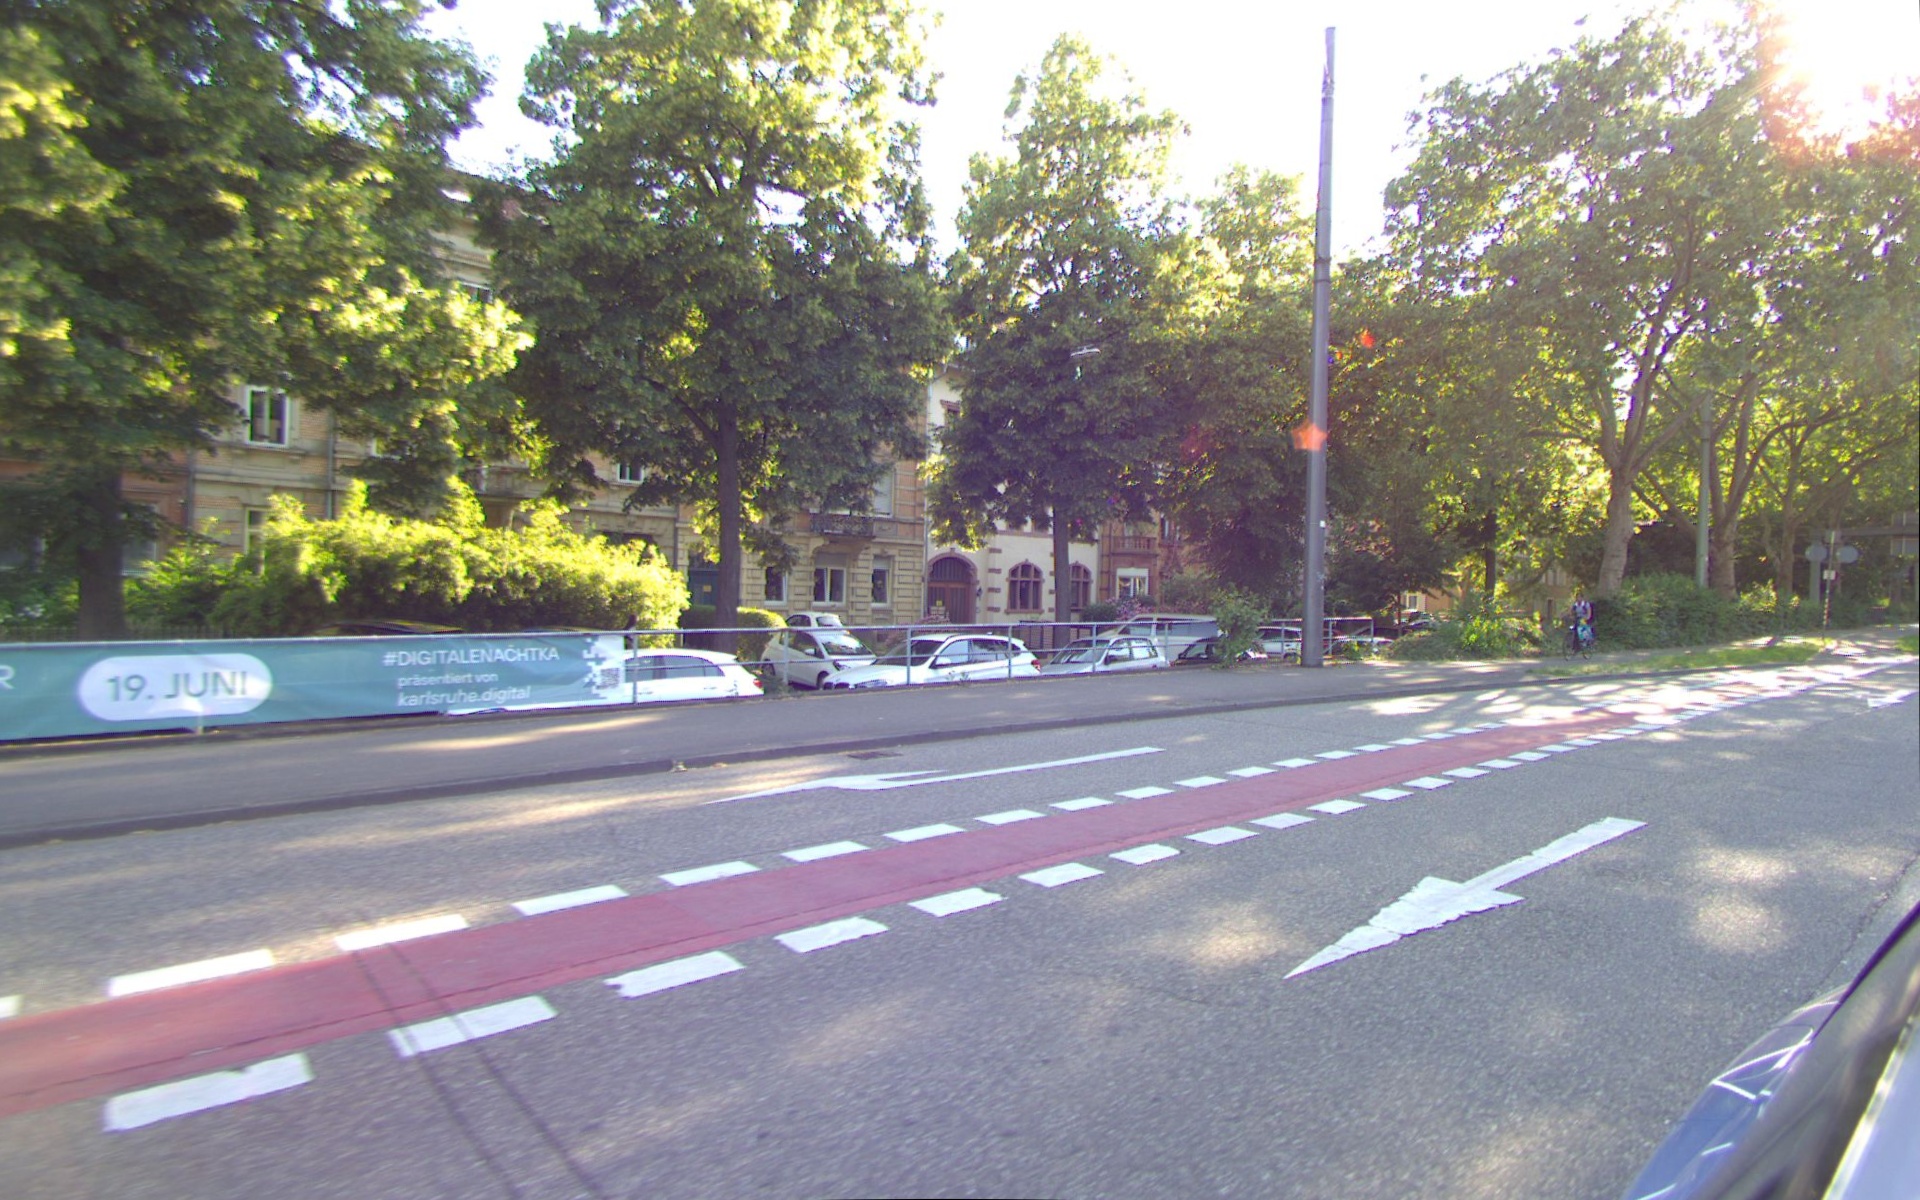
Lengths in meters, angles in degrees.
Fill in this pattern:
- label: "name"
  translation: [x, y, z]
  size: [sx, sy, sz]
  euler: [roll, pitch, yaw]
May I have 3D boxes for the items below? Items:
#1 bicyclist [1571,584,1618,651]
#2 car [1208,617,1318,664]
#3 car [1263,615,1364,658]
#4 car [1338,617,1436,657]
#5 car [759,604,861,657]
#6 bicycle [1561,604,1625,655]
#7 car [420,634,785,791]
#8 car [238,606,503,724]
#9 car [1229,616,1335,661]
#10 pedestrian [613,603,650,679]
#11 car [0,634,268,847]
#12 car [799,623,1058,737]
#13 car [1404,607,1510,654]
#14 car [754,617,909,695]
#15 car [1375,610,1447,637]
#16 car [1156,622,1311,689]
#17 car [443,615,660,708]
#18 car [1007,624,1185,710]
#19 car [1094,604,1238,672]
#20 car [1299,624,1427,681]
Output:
- label: "bicyclist"
  translation: [14.830, 0.403, 23.660]
  size: [0.639, 1.532, 0.767]
  euler: [0, 1, -41]
- label: "car"
  translation: [11.457, 1.500, 38.436]
  size: [3.871, 1.470, 1.680]
  euler: [3, 1, 16]
- label: "car"
  translation: [15.013, 1.538, 43.165]
  size: [3.947, 1.529, 1.790]
  euler: [3, 1, 18]
- label: "car"
  translation: [19.568, 1.657, 46.543]
  size: [3.947, 1.529, 1.790]
  euler: [3, 1, 18]
- label: "car"
  translation: [-5.180, 0.998, 34.712]
  size: [1.770, 1.541, 3.570]
  euler: [0, 2, -43]
- label: "bicycle"
  translation: [14.804, 0.658, 23.653]
  size: [1.769, 1.121, 0.767]
  euler: [0, 1, -41]
- label: "car"
  translation: [-4.759, 1.381, 13.857]
  size: [4.366, 1.598, 1.797]
  euler: [-1, 1, -41]
- label: "car"
  translation: [-10.539, 1.094, 18.179]
  size: [3.939, 1.756, 1.793]
  euler: [2, 1, 13]
- label: "car"
  translation: [12.983, 1.522, 40.960]
  size: [3.947, 1.529, 1.790]
  euler: [3, 1, 18]
- label: "pedestrian"
  translation: [-7.921, 0.970, 24.424]
  size: [0.621, 1.768, 0.648]
  euler: [0, 1, -45]
- label: "car"
  translation: [-9.463, 1.356, 9.914]
  size: [1.793, 1.825, 4.147]
  euler: [0, 1, 42]
- label: "car"
  translation: [-0.450, 1.290, 17.907]
  size: [4.474, 1.598, 1.797]
  euler: [-1, 1, -41]
- label: "car"
  translation: [24.548, 1.478, 50.165]
  size: [4.408, 2.039, 1.984]
  euler: [3, 1, 20]
- label: "car"
  translation: [-3.199, 1.291, 24.699]
  size: [1.769, 1.532, 3.994]
  euler: [1, 2, -42]
- label: "car"
  translation: [30.028, 1.540, 67.462]
  size: [1.766, 1.529, 4.001]
  euler: [1, 1, -35]
- label: "car"
  translation: [6.667, 1.271, 24.440]
  size: [3.932, 1.325, 1.796]
  euler: [-1, 1, -42]
- label: "car"
  translation: [-8.384, 1.186, 20.787]
  size: [3.951, 1.532, 1.788]
  euler: [3, 1, 20]
- label: "car"
  translation: [2.839, 1.303, 20.800]
  size: [3.516, 1.459, 1.796]
  euler: [-1, 1, -42]
- label: "car"
  translation: [7.057, 1.233, 34.572]
  size: [4.620, 1.990, 1.862]
  euler: [3, 1, 18]
- label: "car"
  translation: [11.284, 1.410, 28.247]
  size: [3.932, 1.325, 1.796]
  euler: [-1, 1, -42]
